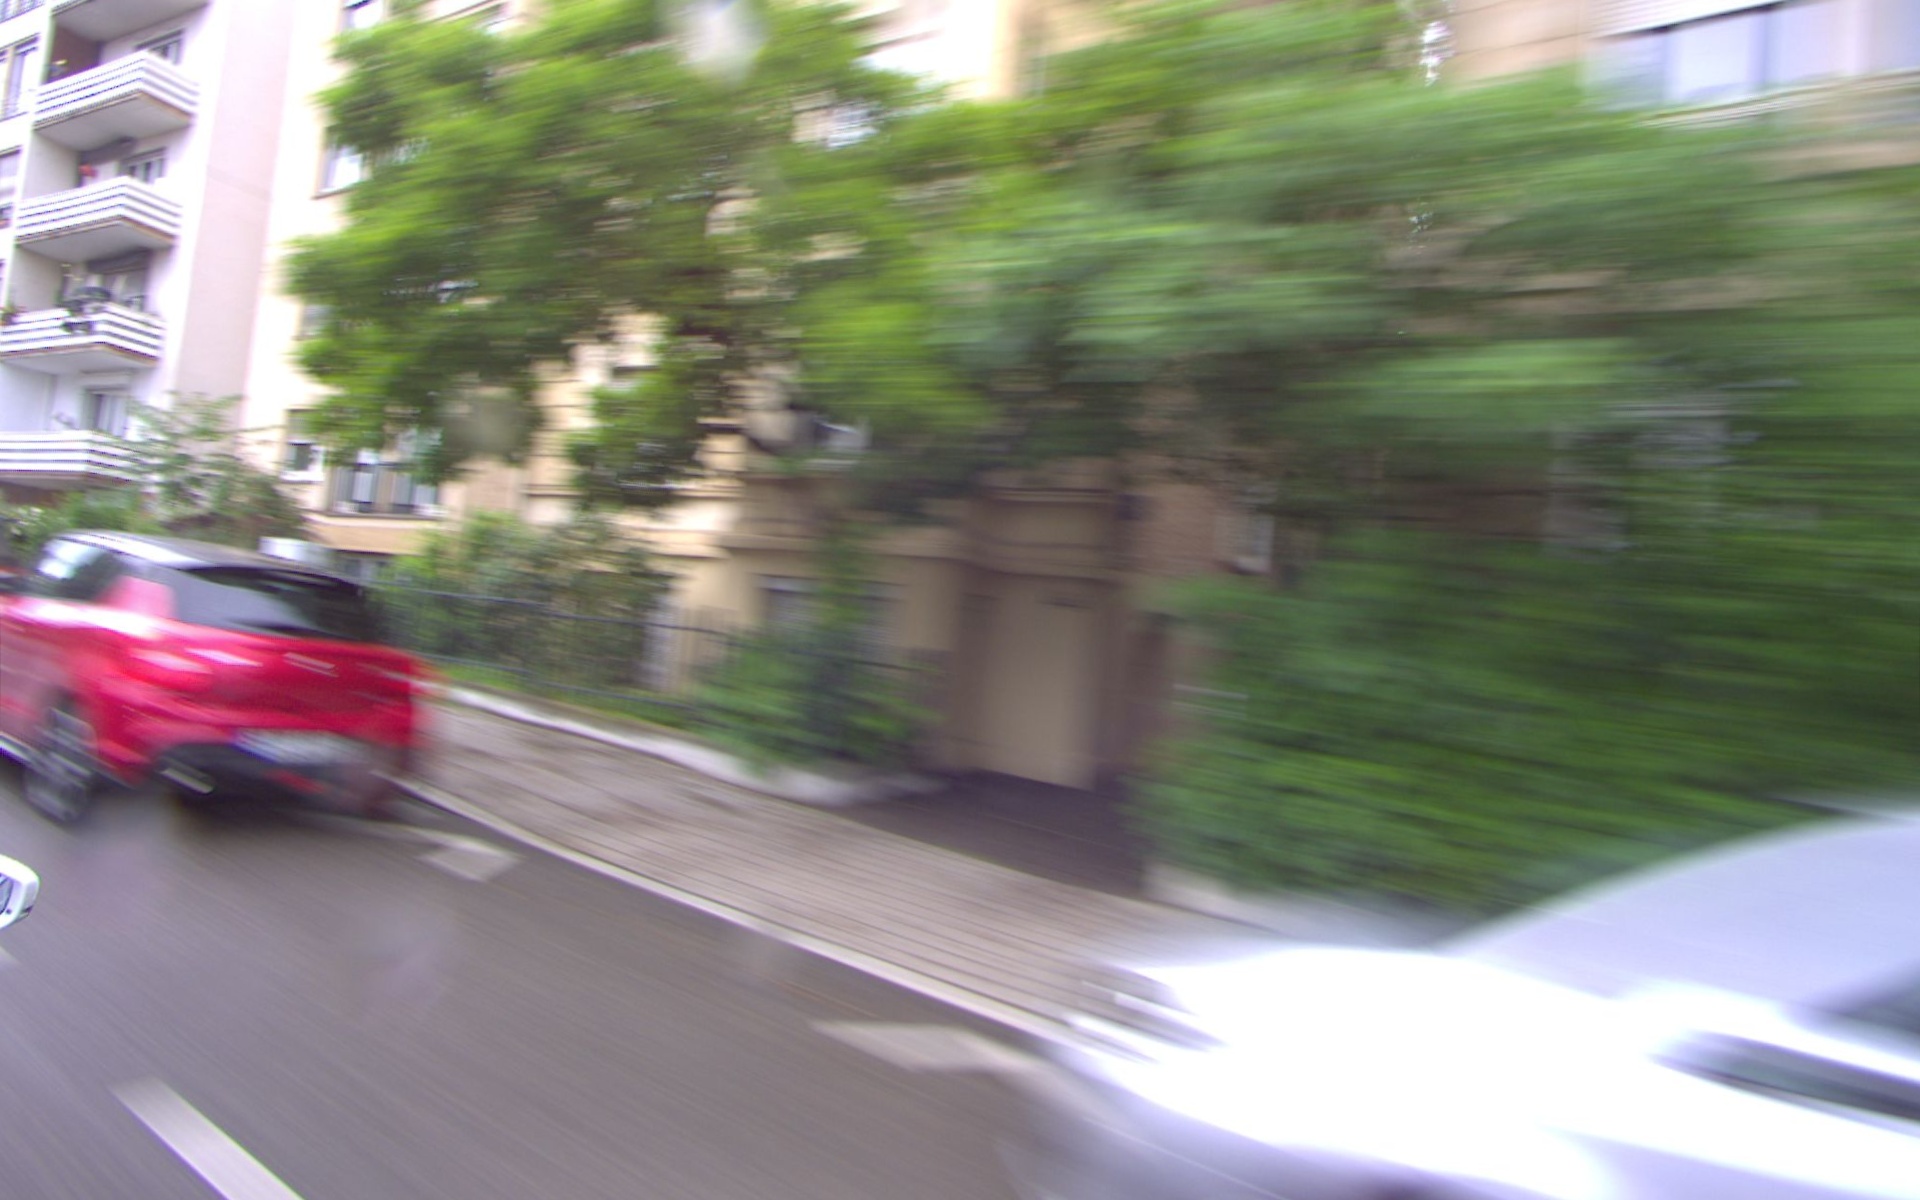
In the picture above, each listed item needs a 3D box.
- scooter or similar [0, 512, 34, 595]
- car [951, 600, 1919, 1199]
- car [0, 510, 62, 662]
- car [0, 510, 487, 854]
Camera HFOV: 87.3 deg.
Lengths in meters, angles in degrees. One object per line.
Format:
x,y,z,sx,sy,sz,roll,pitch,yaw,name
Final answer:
-15.536,-0.794,16.041,1.176,1.250,0.470,8,1,13,scooter or similar
2.294,1.102,2.104,4.215,1.622,1.769,7,-1,30,car
-11.391,-0.410,10.500,3.995,1.452,1.688,7,-3,30,car
-4.983,0.345,6.326,3.778,1.452,1.726,7,-3,32,car
